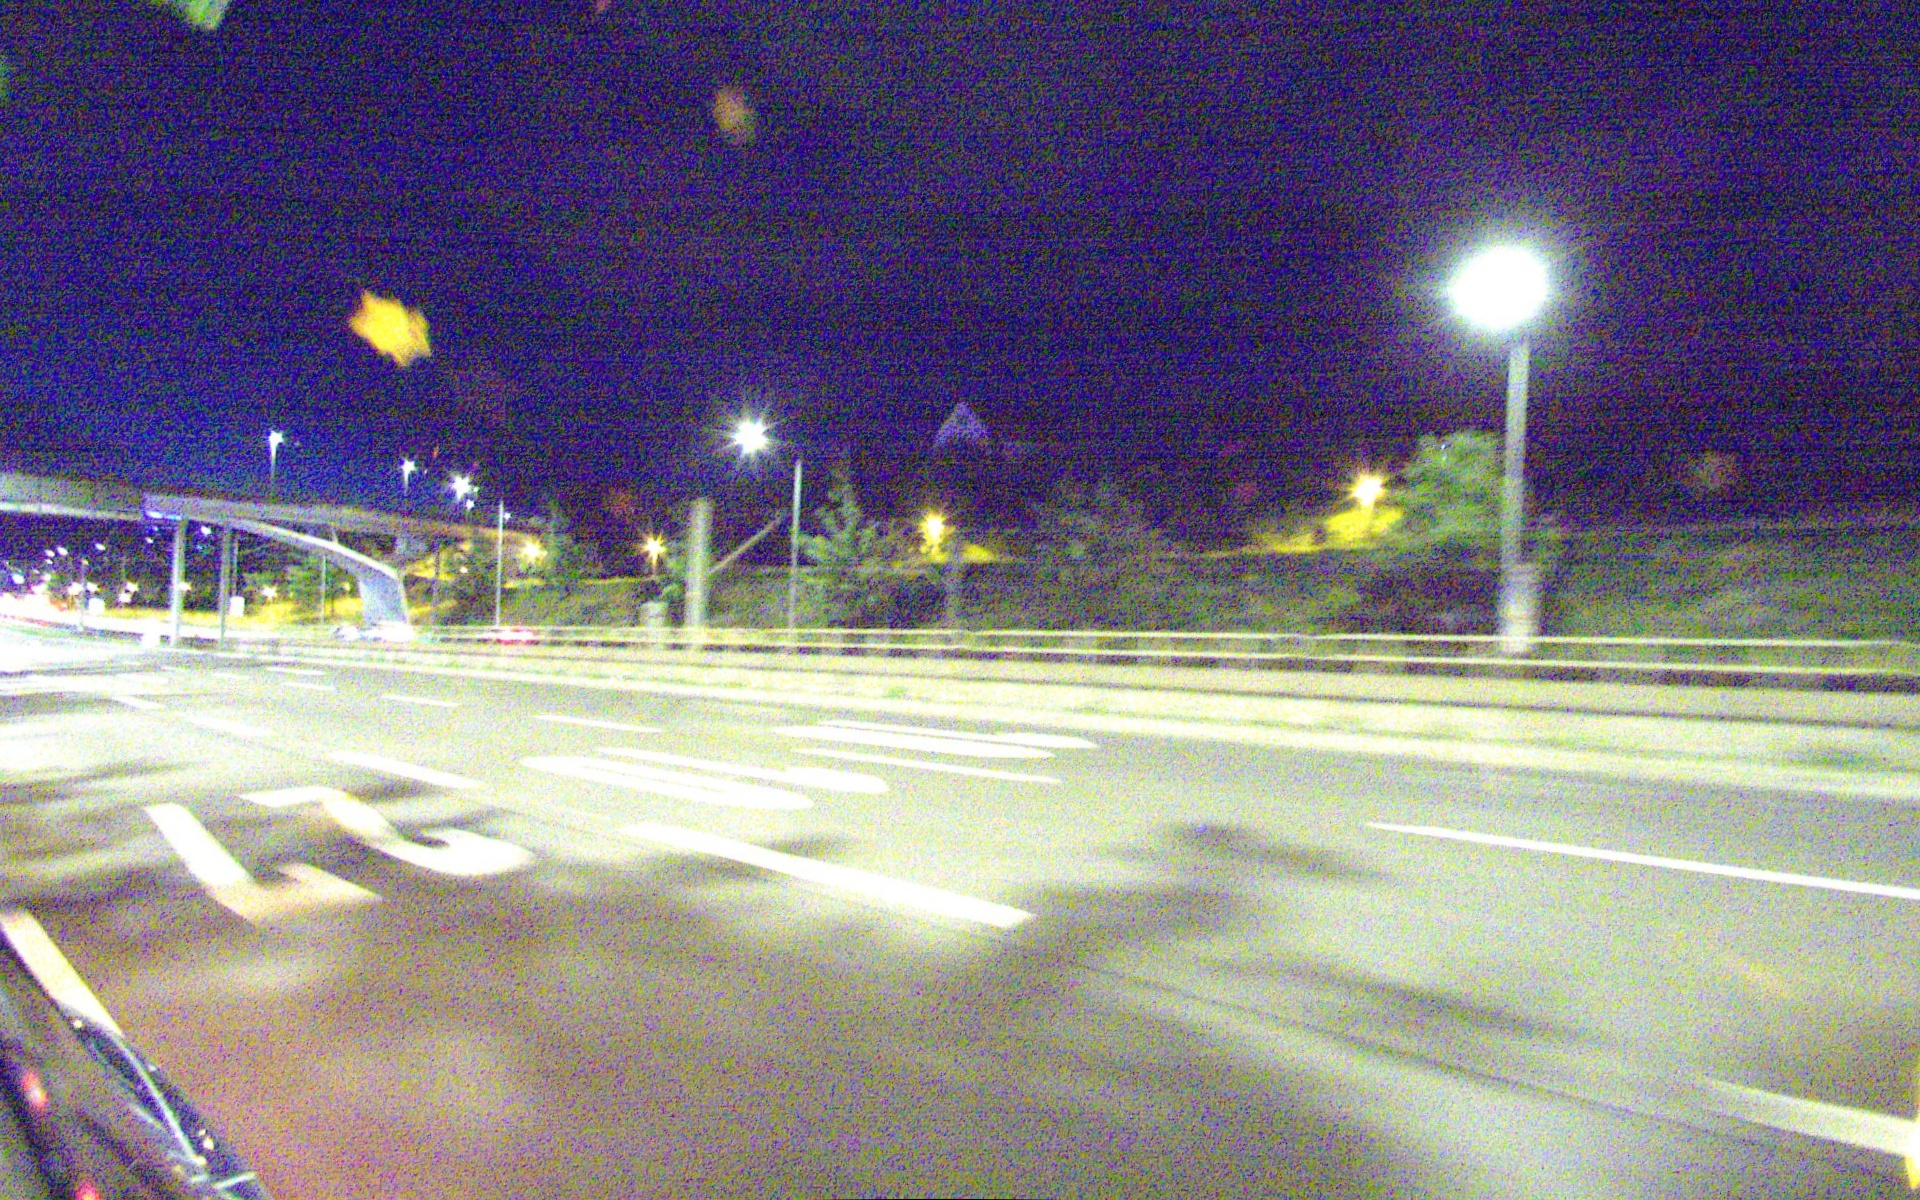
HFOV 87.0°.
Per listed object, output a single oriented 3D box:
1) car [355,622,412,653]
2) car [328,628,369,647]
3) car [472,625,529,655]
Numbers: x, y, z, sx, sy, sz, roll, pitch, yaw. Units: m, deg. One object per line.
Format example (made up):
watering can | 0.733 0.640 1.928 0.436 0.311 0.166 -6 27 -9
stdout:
car | -34.384 2.202 60.331 3.998 1.708 1.782 -1 0 41
car | -47.147 2.850 77.973 3.384 1.279 1.514 1 1 36
car | -29.700 2.565 65.328 3.997 1.697 1.813 1 1 40
